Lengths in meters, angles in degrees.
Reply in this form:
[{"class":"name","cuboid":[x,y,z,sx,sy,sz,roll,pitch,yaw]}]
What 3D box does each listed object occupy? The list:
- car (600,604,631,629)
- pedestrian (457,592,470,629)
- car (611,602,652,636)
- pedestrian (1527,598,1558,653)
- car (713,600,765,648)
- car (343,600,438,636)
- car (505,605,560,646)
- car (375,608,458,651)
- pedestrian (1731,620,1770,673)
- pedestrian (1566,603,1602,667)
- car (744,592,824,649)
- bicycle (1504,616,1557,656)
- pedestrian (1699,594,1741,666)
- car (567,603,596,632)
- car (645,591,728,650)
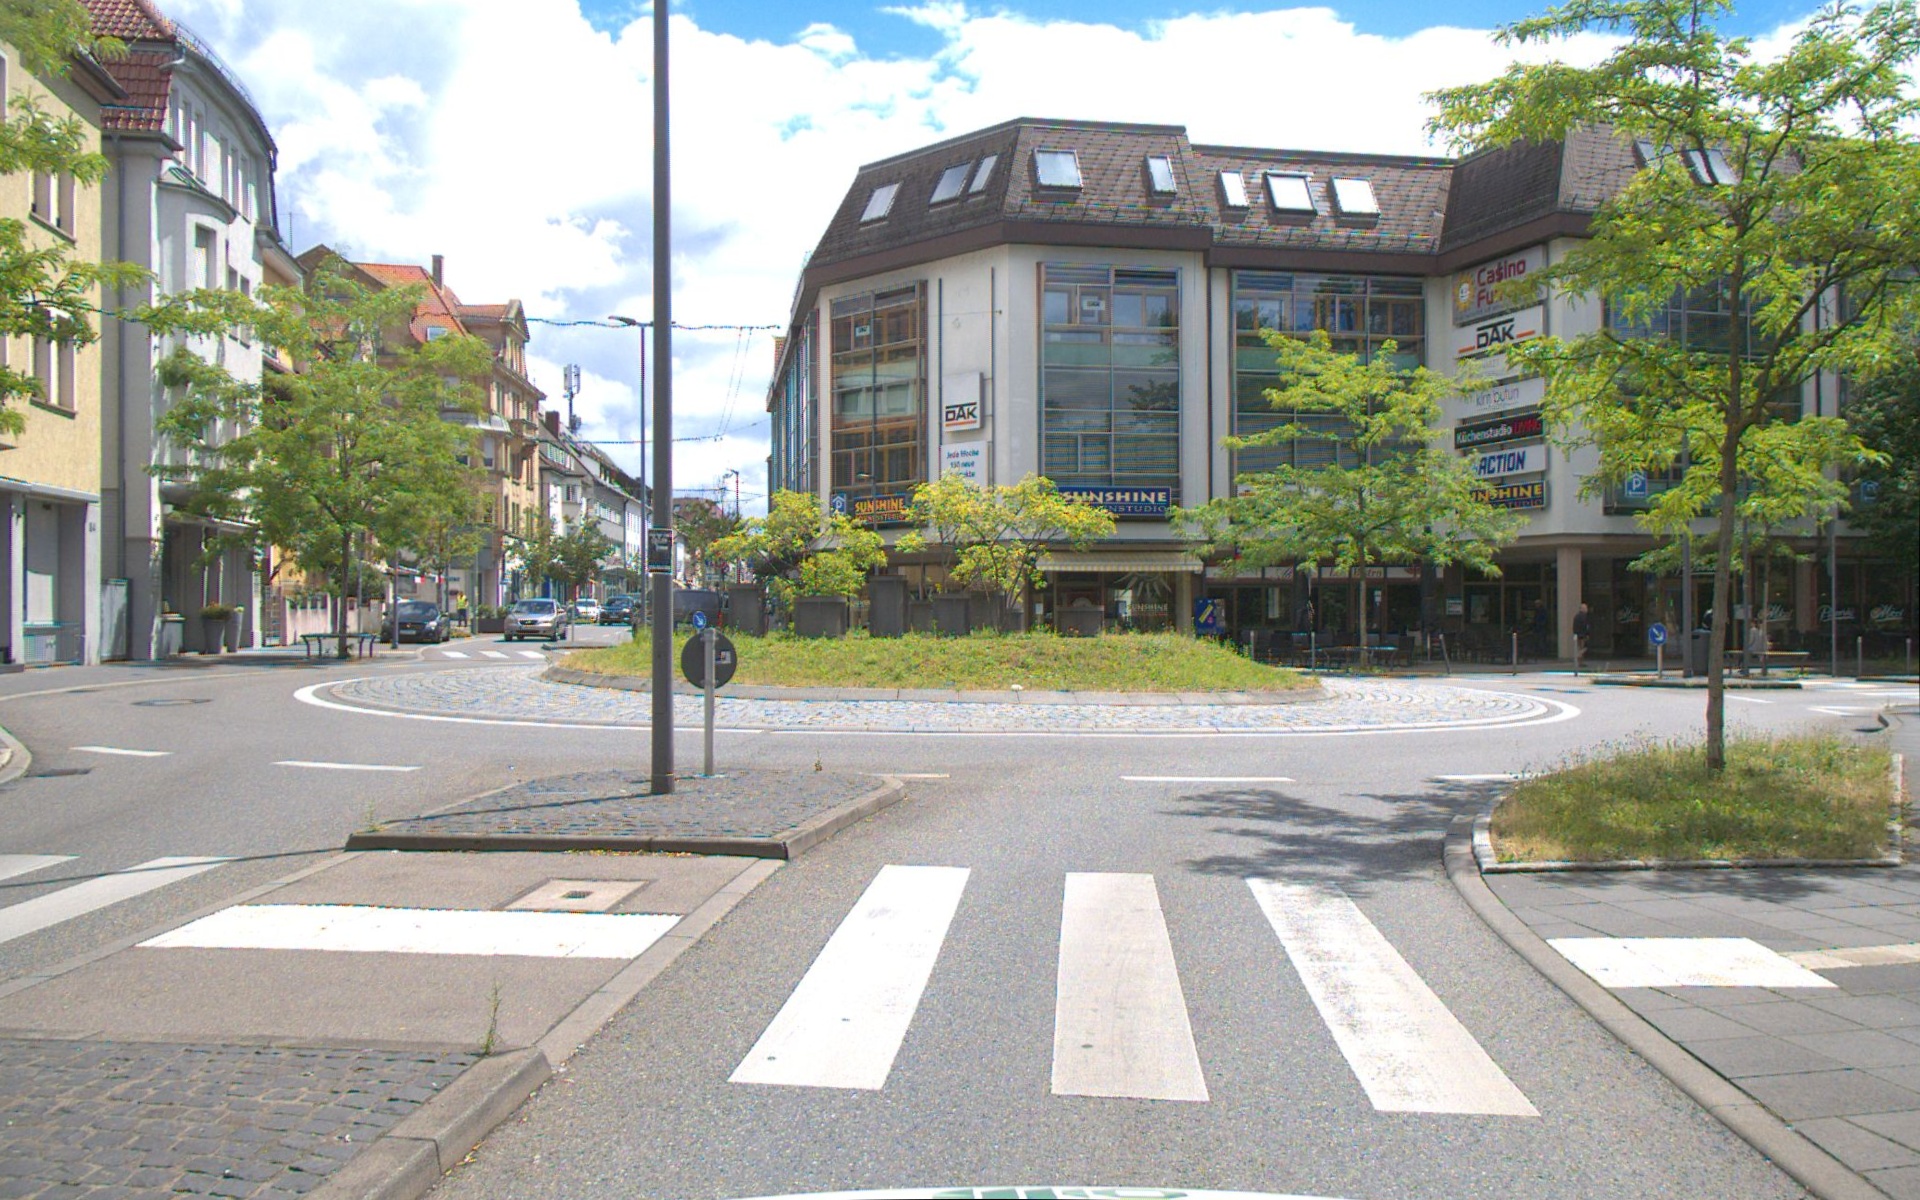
[{"class":"car","cuboid":[-19.987,0.939,95.933,1.679,1.378,3.988,1,0,-12]},{"class":"pedestrian","cuboid":[-23.467,0.495,78.219,0.541,1.715,0.515,1,0,-12]},{"class":"car","cuboid":[-15.582,0.889,78.601,1.791,1.546,4.223,0,-1,-9]},{"class":"pedestrian","cuboid":[18.102,0.782,51.384,0.685,1.704,0.614,1,0,-20]},{"class":"car","cuboid":[-8.586,0.928,64.470,1.789,1.761,4.228,-1,0,-5]},{"class":"car","cuboid":[-28.599,0.905,83.039,4.361,1.807,1.985,1,-1,-25]},{"class":"car","cuboid":[-15.004,0.883,58.210,1.679,1.378,3.988,1,0,-12]},{"class":"car","cuboid":[-17.404,0.919,53.165,1.677,1.267,4.404,1,0,-7]},{"class":"pedestrian","cuboid":[19.872,1.161,41.595,0.603,1.307,0.697,1,0,-7]},{"class":"pedestrian","cuboid":[16.807,0.943,44.570,0.689,1.704,0.610,1,-1,-32]},{"class":"car","cuboid":[-5.626,0.619,52.341,1.959,1.717,4.677,1,0,-13]},{"class":"bicycle","cuboid":[17.666,1.117,51.201,1.507,1.188,0.495,1,-2,25]},{"class":"pedestrian","cuboid":[19.823,0.775,43.155,0.605,1.850,0.695,-3,1,-14]},{"class":"car","cuboid":[-23.554,1.079,103.101,1.679,1.742,3.988,1,0,-12]},{"class":"car","cuboid":[-8.604,0.627,51.796,1.796,1.737,4.415,2,-1,-19]}]
